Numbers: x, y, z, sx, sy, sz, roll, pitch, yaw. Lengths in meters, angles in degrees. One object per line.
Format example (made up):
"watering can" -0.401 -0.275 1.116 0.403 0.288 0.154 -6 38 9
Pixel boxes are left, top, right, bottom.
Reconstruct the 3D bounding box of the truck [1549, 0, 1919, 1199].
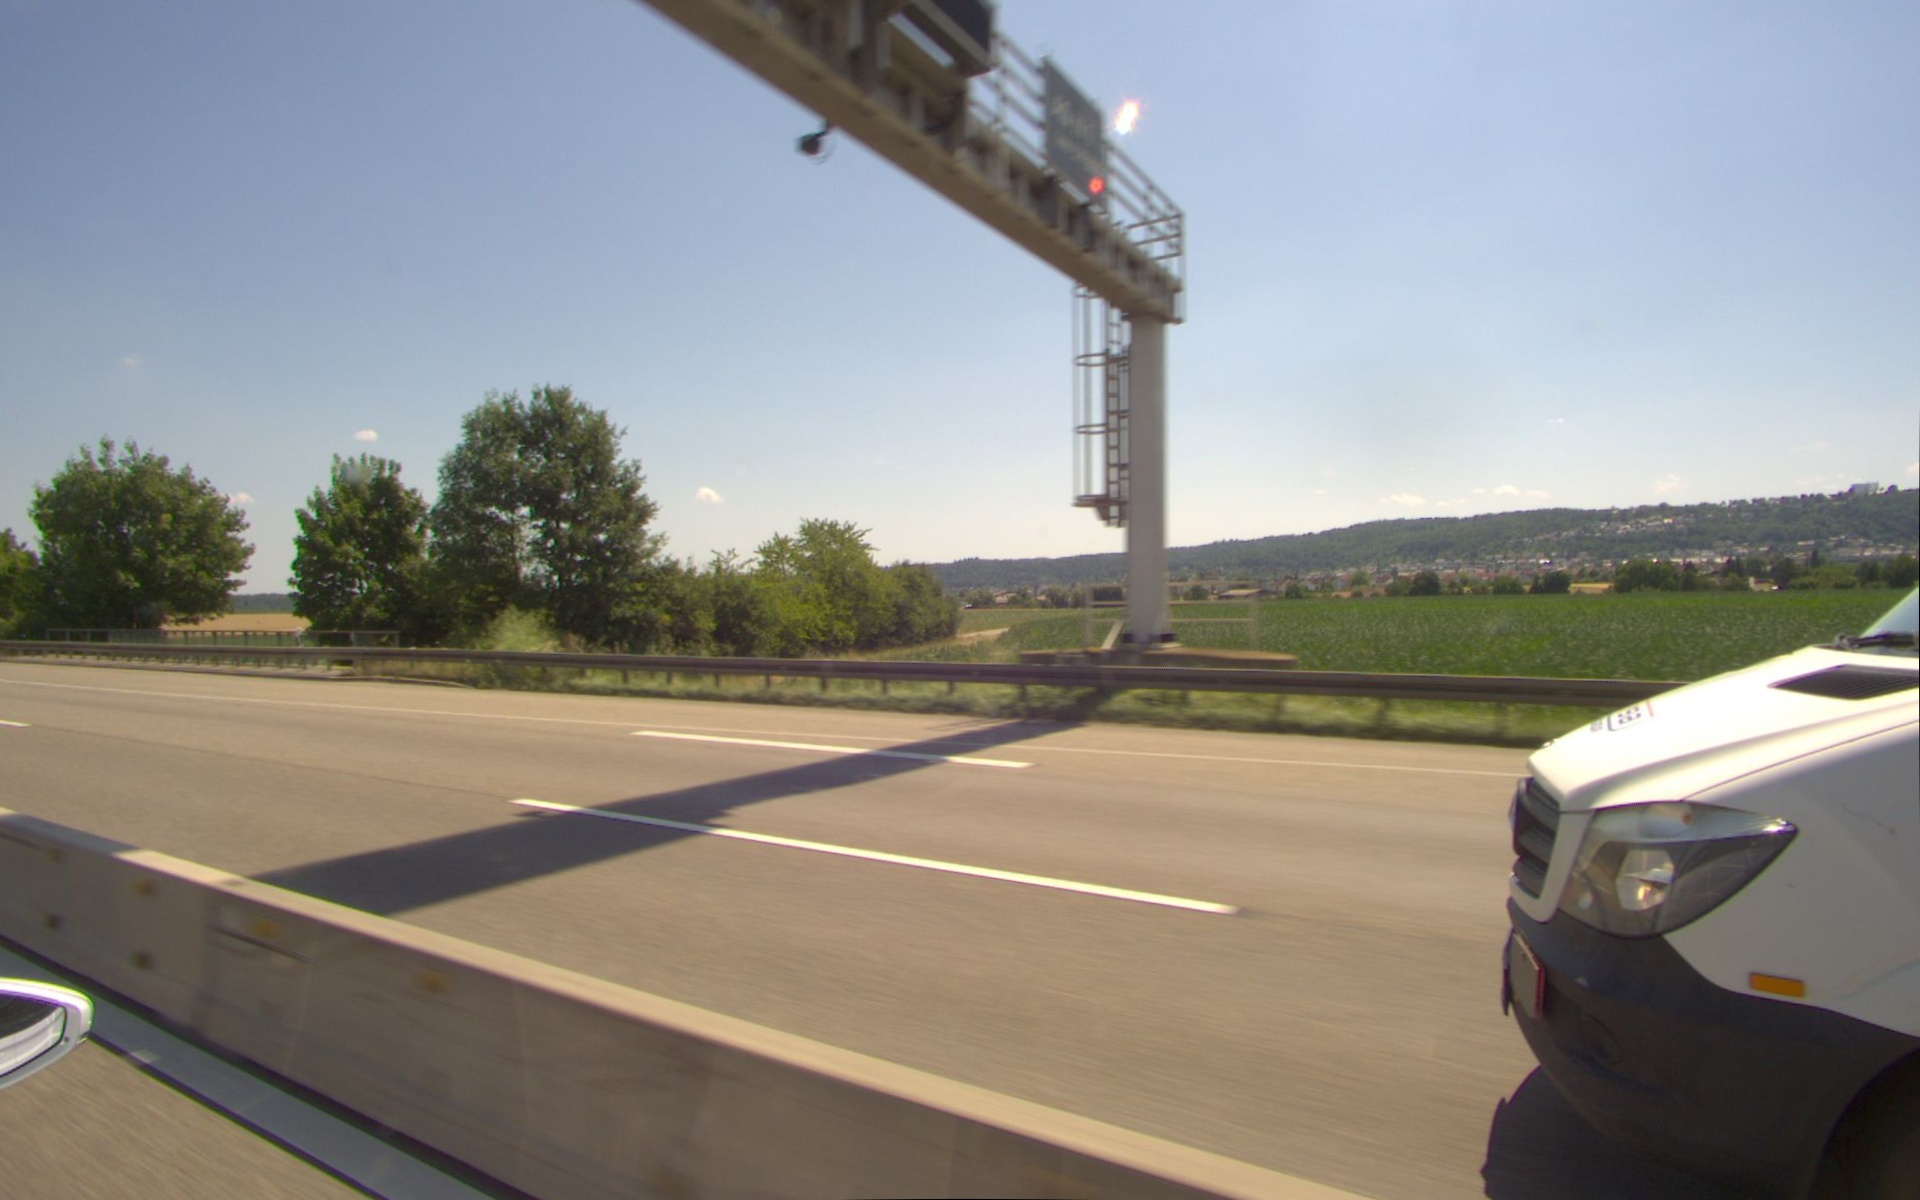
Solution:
"truck" 4.593 -0.059 1.196 6.654 3.107 2.316 0 -1 32
